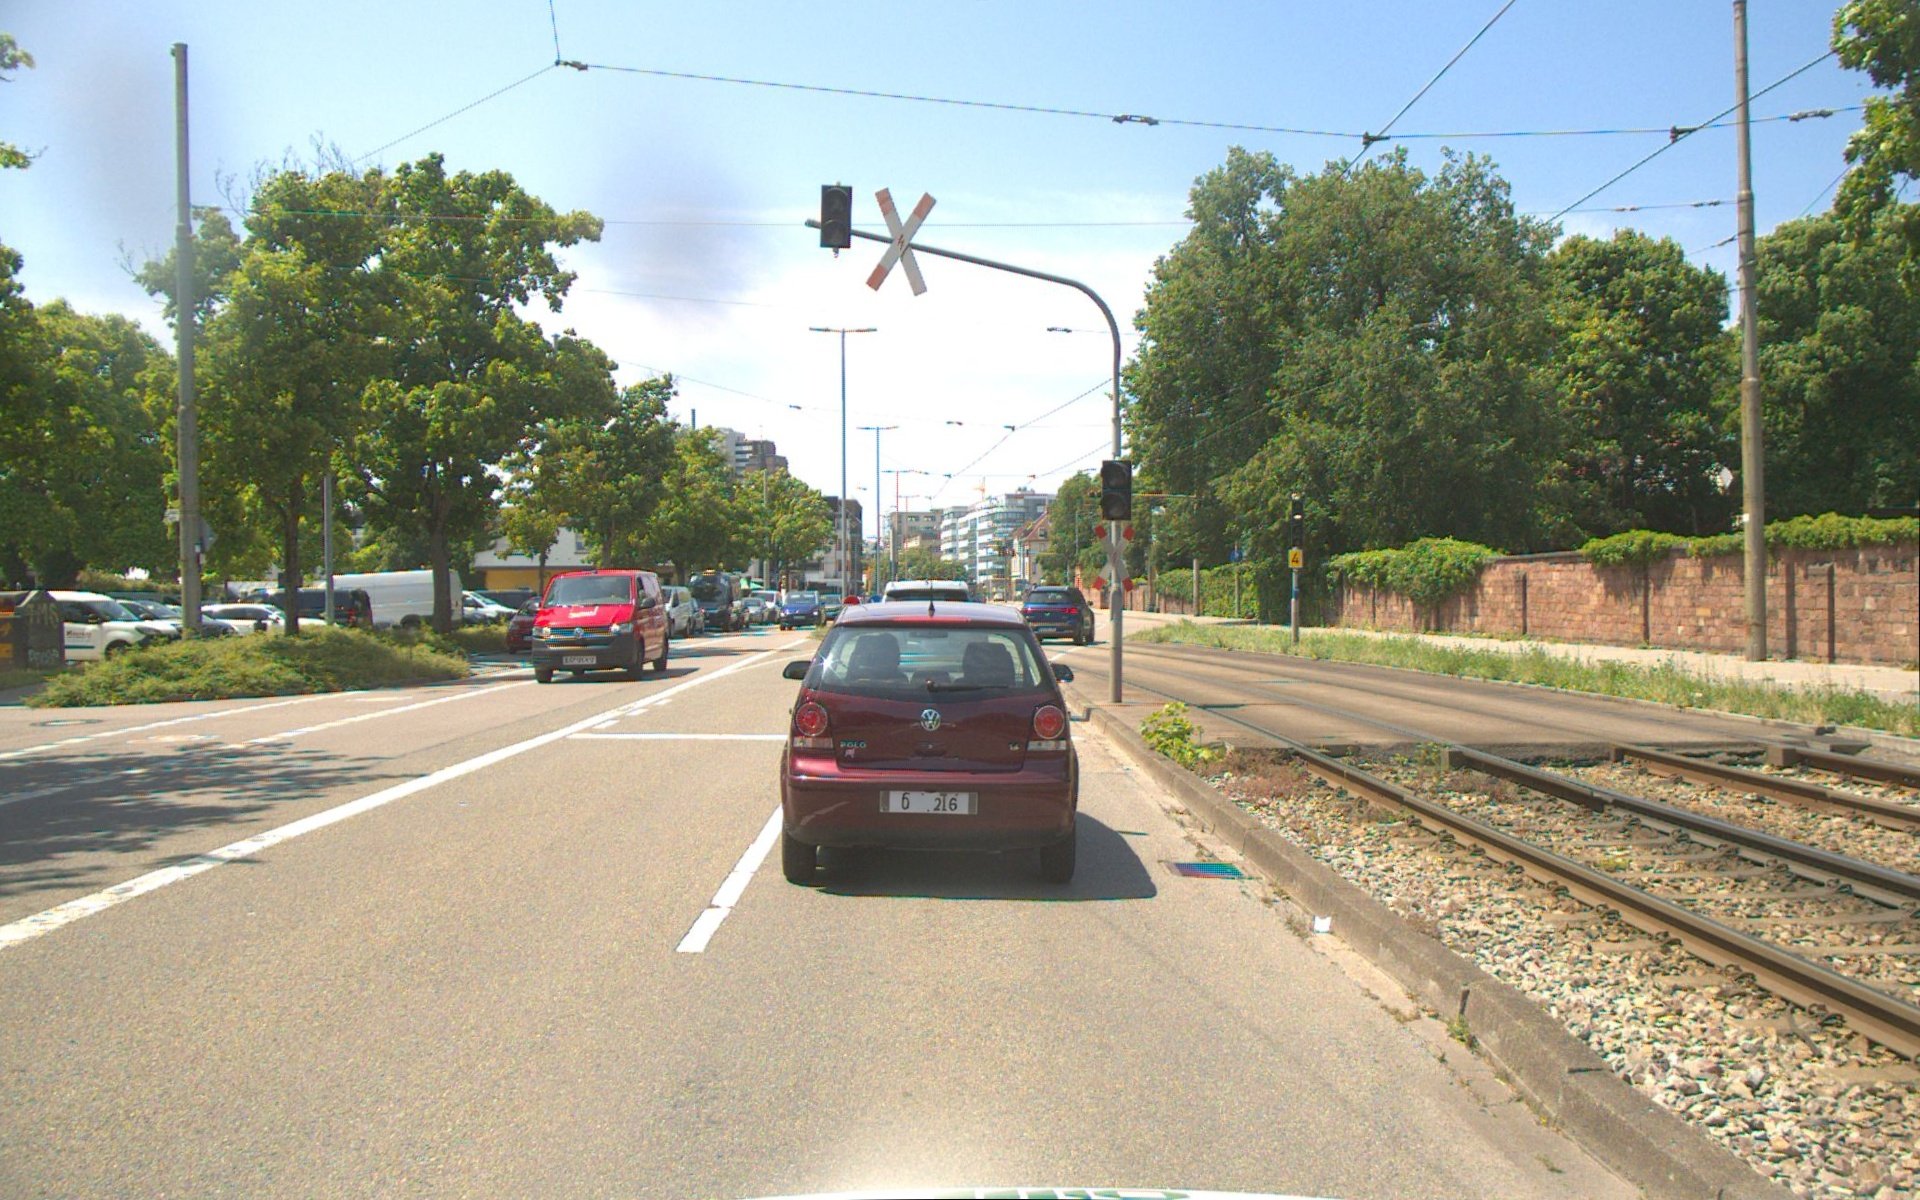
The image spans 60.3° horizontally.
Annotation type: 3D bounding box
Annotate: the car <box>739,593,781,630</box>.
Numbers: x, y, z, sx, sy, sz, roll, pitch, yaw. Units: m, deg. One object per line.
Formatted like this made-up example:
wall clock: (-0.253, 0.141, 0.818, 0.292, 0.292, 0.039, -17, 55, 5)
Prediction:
car: (-11.702, 0.634, 97.250, 1.837, 1.999, 5.163, 3, 0, -1)

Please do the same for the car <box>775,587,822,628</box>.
car: (-7.035, 0.315, 72.260, 1.702, 1.685, 4.065, -2, 0, -1)

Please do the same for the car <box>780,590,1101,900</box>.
car: (-0.146, 0.707, 10.178, 1.577, 1.524, 3.999, 0, 0, -2)

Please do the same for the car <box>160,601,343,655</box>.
car: (-21.590, 0.837, 50.566, 4.666, 1.514, 2.057, -1, 0, -3)

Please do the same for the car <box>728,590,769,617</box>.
car: (-11.677, 0.189, 91.496, 1.598, 1.444, 3.867, 2, 0, 1)

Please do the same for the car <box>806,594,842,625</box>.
car: (-7.446, 0.506, 90.513, 1.702, 1.603, 3.712, -2, 0, -1)

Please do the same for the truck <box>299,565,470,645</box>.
truck: (-21.282, 0.173, 61.353, 5.464, 2.808, 2.432, -1, 0, 0)

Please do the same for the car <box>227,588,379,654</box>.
car: (-21.153, 0.652, 53.366, 4.125, 2.030, 1.856, -1, 0, -3)

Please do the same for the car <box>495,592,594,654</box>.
car: (-11.133, 0.603, 44.498, 1.637, 1.573, 3.727, 0, 0, 1)

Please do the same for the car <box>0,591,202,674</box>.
car: (-20.679, 0.755, 39.662, 4.178, 1.867, 1.673, -1, 0, 1)

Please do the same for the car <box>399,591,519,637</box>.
car: (-21.746, 0.595, 71.894, 4.624, 1.845, 1.796, -1, 0, -3)

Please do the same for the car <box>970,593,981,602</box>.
car: (2.074, -0.331, 219.511, 1.326, 1.274, 2.972, 0, 0, -1)

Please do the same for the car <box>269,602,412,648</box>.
car: (-20.847, 0.840, 55.769, 4.125, 1.436, 1.856, -1, 0, -3)

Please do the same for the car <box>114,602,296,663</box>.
car: (-20.503, 0.876, 45.021, 4.037, 1.535, 1.932, -1, 0, 1)

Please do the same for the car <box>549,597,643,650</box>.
car: (-11.061, 0.687, 50.541, 1.683, 1.452, 4.771, -2, 0, 1)

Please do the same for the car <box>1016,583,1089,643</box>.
car: (2.719, 0.356, 48.019, 1.736, 1.659, 4.003, 0, 0, 8)

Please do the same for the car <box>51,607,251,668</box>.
car: (-20.773, 0.953, 42.612, 4.114, 1.428, 2.079, -1, 0, -5)

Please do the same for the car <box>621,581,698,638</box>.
car: (-11.181, 0.335, 61.845, 1.824, 1.971, 4.806, 3, 0, 1)

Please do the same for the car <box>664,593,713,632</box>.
car: (-10.985, 0.495, 67.090, 1.376, 1.465, 3.839, 3, 0, -1)

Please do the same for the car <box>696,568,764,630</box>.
car: (-10.815, -0.069, 78.329, 2.350, 2.702, 6.171, 3, 0, -1)

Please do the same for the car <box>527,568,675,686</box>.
car: (-6.556, 0.448, 30.705, 1.861, 1.959, 4.817, -2, 0, -3)

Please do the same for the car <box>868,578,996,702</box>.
car: (-0.441, 0.543, 24.891, 1.759, 1.712, 3.999, 0, 0, -2)

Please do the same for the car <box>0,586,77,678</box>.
car: (-21.372, 0.689, 34.863, 4.361, 1.889, 2.059, -1, 0, -5)

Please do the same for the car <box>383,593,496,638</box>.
car: (-21.743, 0.629, 69.244, 4.125, 1.796, 1.856, -1, 0, -3)
